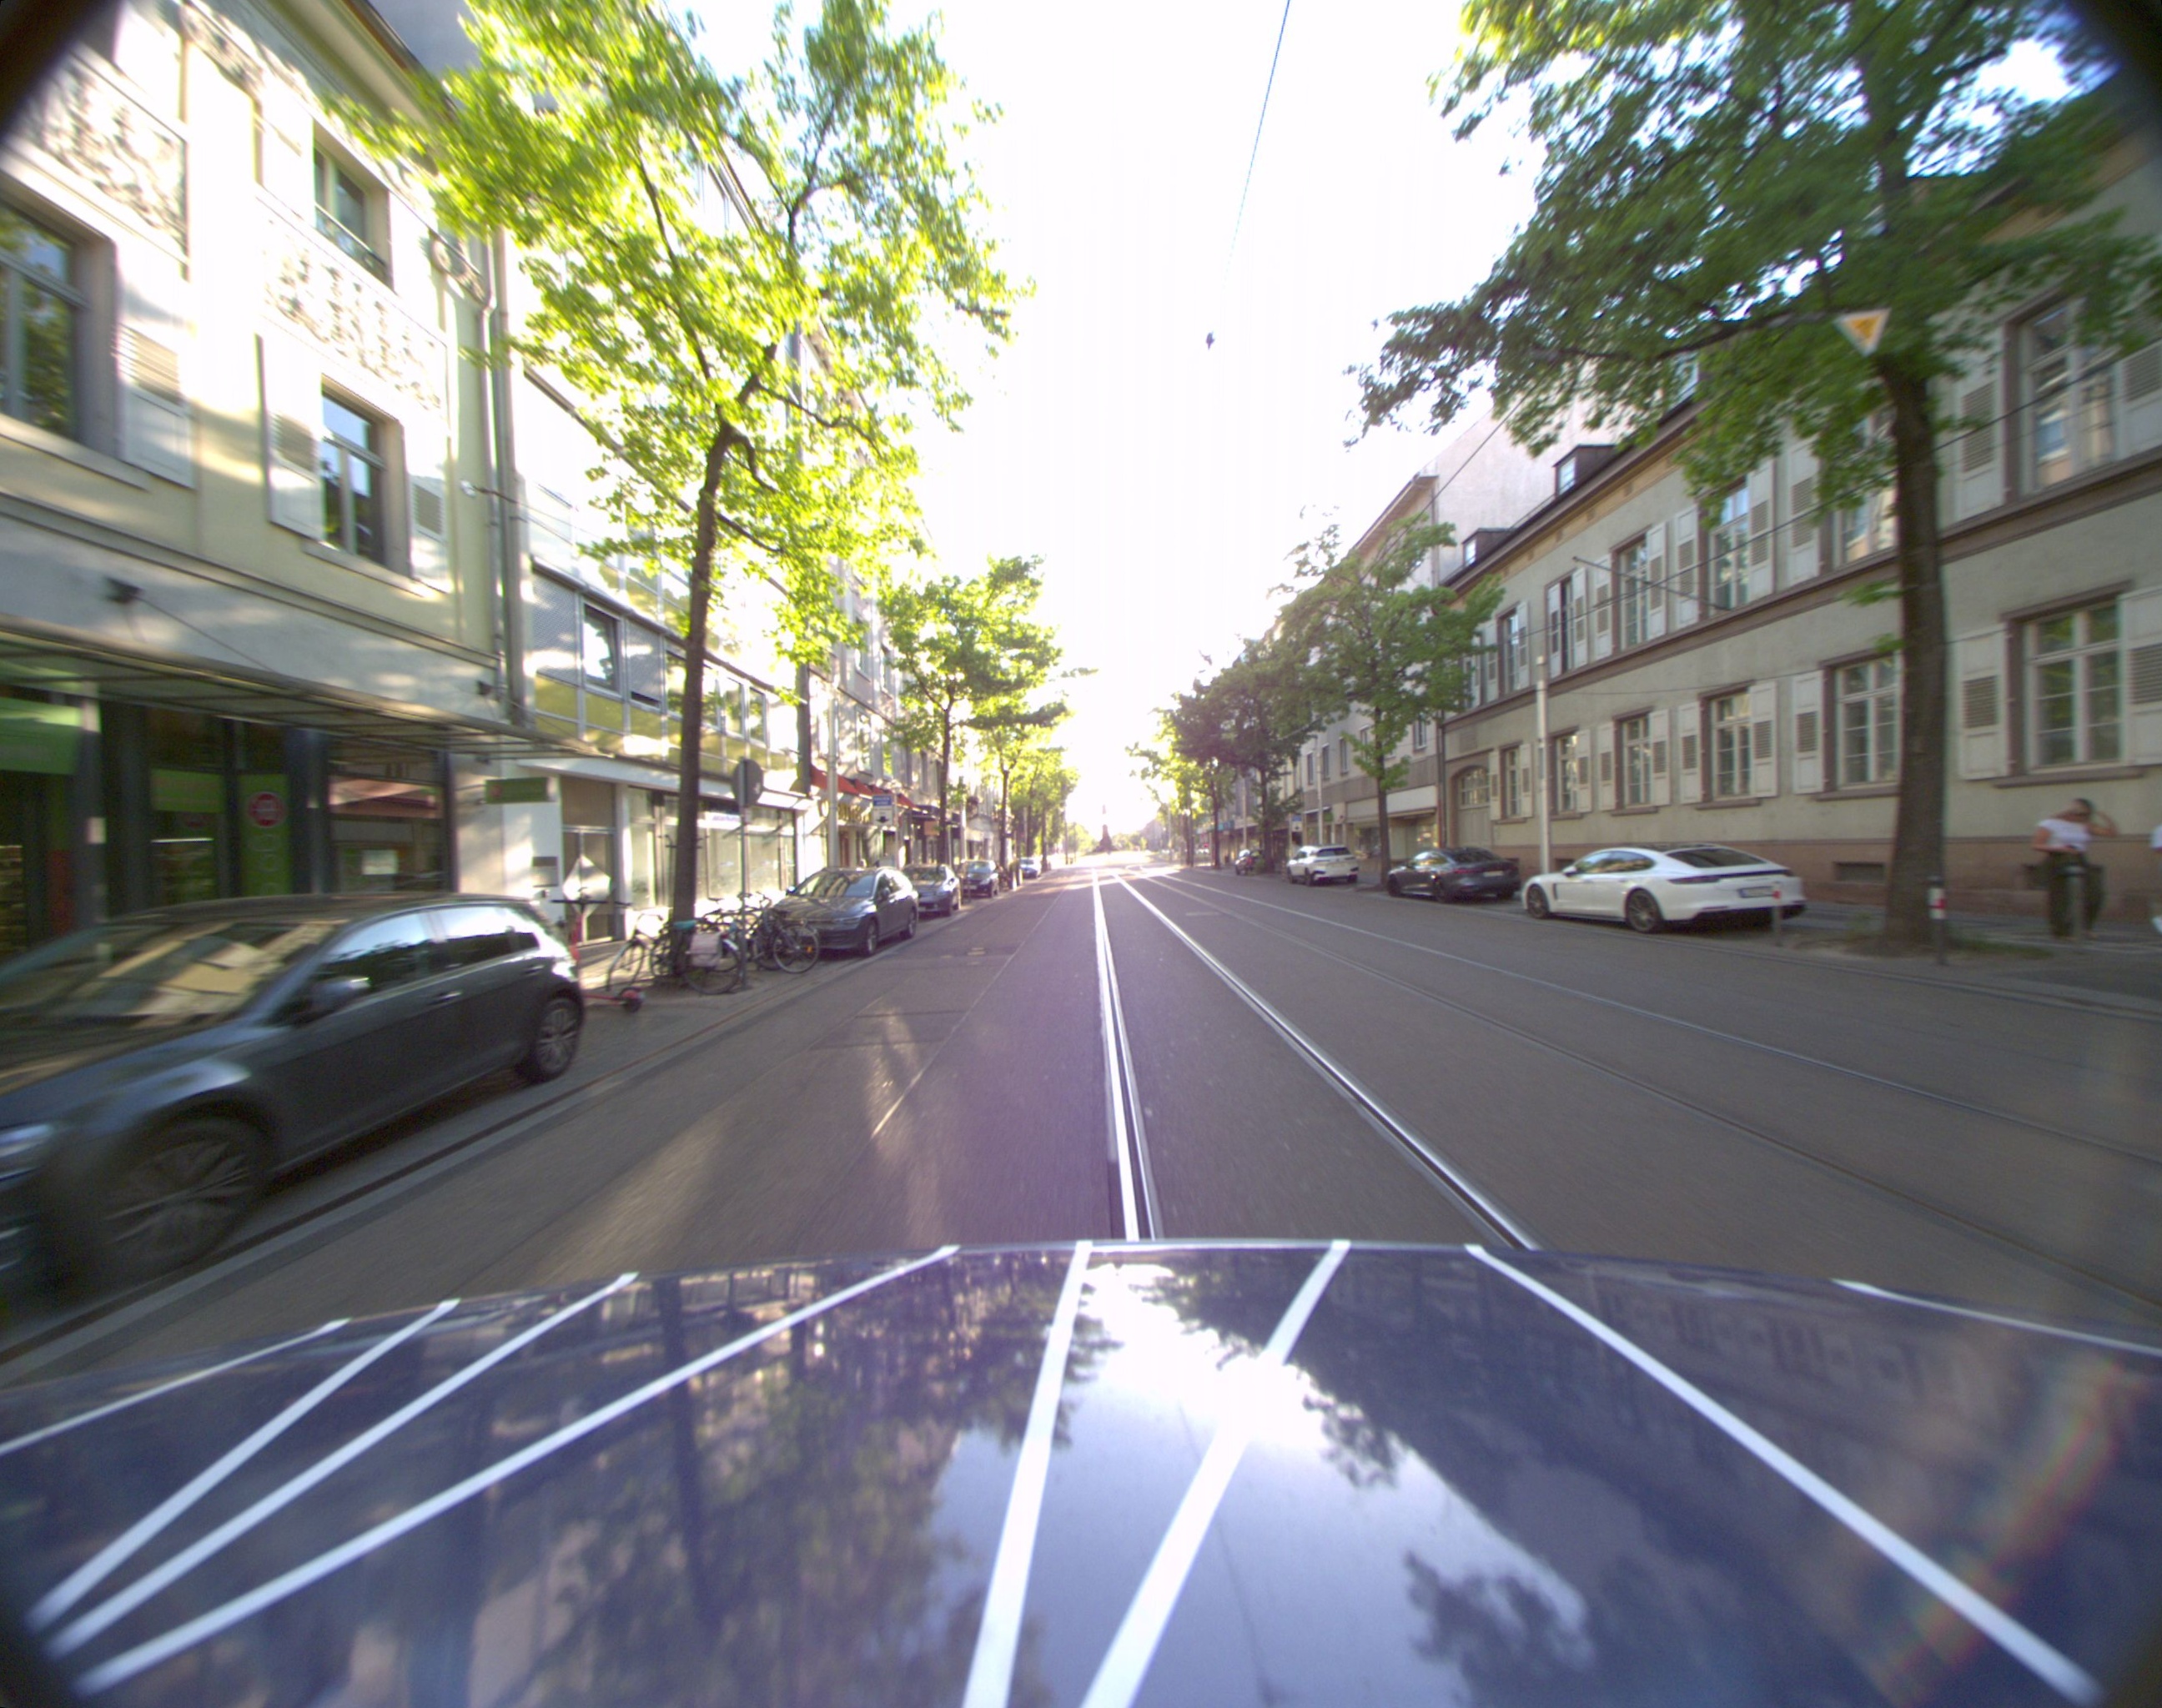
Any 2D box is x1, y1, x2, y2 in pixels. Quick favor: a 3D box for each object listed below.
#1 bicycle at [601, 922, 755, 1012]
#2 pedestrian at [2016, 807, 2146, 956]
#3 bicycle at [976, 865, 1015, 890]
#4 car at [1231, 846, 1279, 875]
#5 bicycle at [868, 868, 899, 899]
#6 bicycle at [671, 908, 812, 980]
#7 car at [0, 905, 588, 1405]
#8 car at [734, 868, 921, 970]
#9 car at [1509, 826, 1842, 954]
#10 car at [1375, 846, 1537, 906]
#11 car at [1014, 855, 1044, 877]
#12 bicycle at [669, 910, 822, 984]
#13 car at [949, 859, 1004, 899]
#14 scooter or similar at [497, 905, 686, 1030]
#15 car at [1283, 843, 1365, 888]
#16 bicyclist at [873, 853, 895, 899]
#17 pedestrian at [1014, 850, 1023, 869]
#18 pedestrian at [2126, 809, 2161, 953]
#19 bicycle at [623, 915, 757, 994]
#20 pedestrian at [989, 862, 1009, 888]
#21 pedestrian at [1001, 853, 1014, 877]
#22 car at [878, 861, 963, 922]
[{"bbox_3d":[-4.703,1.313,8.909,1.541,0.959,0.496,-2,1,5],"label":"bicycle"},{"bbox_3d":[11.977,0.320,9.119,0.688,1.711,0.656,-2,1,1],"label":"pedestrian"},{"bbox_3d":[-4.007,1.106,35.597,1.728,1.132,0.547,1,2,21],"label":"bicycle"},{"bbox_3d":[10.766,0.361,47.305,1.967,1.630,3.999,-4,1,1],"label":"car"},{"bbox_3d":[-7.369,1.073,28.415,0.649,1.068,1.861,-1,1,-1],"label":"bicycle"},{"bbox_3d":[-4.847,1.282,10.875,1.900,0.959,0.332,-2,1,6],"label":"bicycle"},{"bbox_3d":[-4.754,1.144,4.120,1.843,1.428,3.997,0,0,-6],"label":"car"},{"bbox_3d":[-4.378,1.048,13.857,1.875,1.444,4.106,1,1,3],"label":"car"},{"bbox_3d":[9.919,0.485,13.361,1.951,1.630,4.908,-7,1,2],"label":"car"},{"bbox_3d":[10.226,0.517,21.222,1.967,1.404,4.845,-2,1,-2],"label":"car"},{"bbox_3d":[-3.740,0.831,55.529,1.780,1.432,4.422,1,1,1],"label":"car"},{"bbox_3d":[-4.637,1.280,10.510,2.041,0.959,0.282,-2,1,6],"label":"bicycle"},{"bbox_3d":[-4.165,0.953,30.825,1.805,1.450,3.653,0,1,-1],"label":"car"},{"bbox_3d":[-5.116,1.174,7.995,1.541,1.189,0.675,-2,1,5],"label":"scooter or similar"},{"bbox_3d":[10.286,0.445,32.596,1.966,1.630,4.812,-5,1,1],"label":"car"},{"bbox_3d":[-7.358,0.805,28.357,0.640,1.674,0.599,-1,1,-1],"label":"bicyclist"},{"bbox_3d":[-6.814,0.602,82.607,0.846,2.002,0.843,-2,2,-9],"label":"pedestrian"},{"bbox_3d":[12.863,0.309,8.783,0.676,1.670,0.647,-2,1,1],"label":"pedestrian"},{"bbox_3d":[-5.159,1.321,10.056,1.541,0.959,0.496,-2,1,8],"label":"bicycle"},{"bbox_3d":[-4.025,1.031,37.325,0.819,1.258,0.586,-2,1,6],"label":"pedestrian"},{"bbox_3d":[-5.131,0.784,53.234,0.805,1.633,0.756,-1,1,1],"label":"pedestrian"},{"bbox_3d":[-4.476,0.990,21.776,1.820,1.477,3.998,2,0,-4],"label":"car"}]
